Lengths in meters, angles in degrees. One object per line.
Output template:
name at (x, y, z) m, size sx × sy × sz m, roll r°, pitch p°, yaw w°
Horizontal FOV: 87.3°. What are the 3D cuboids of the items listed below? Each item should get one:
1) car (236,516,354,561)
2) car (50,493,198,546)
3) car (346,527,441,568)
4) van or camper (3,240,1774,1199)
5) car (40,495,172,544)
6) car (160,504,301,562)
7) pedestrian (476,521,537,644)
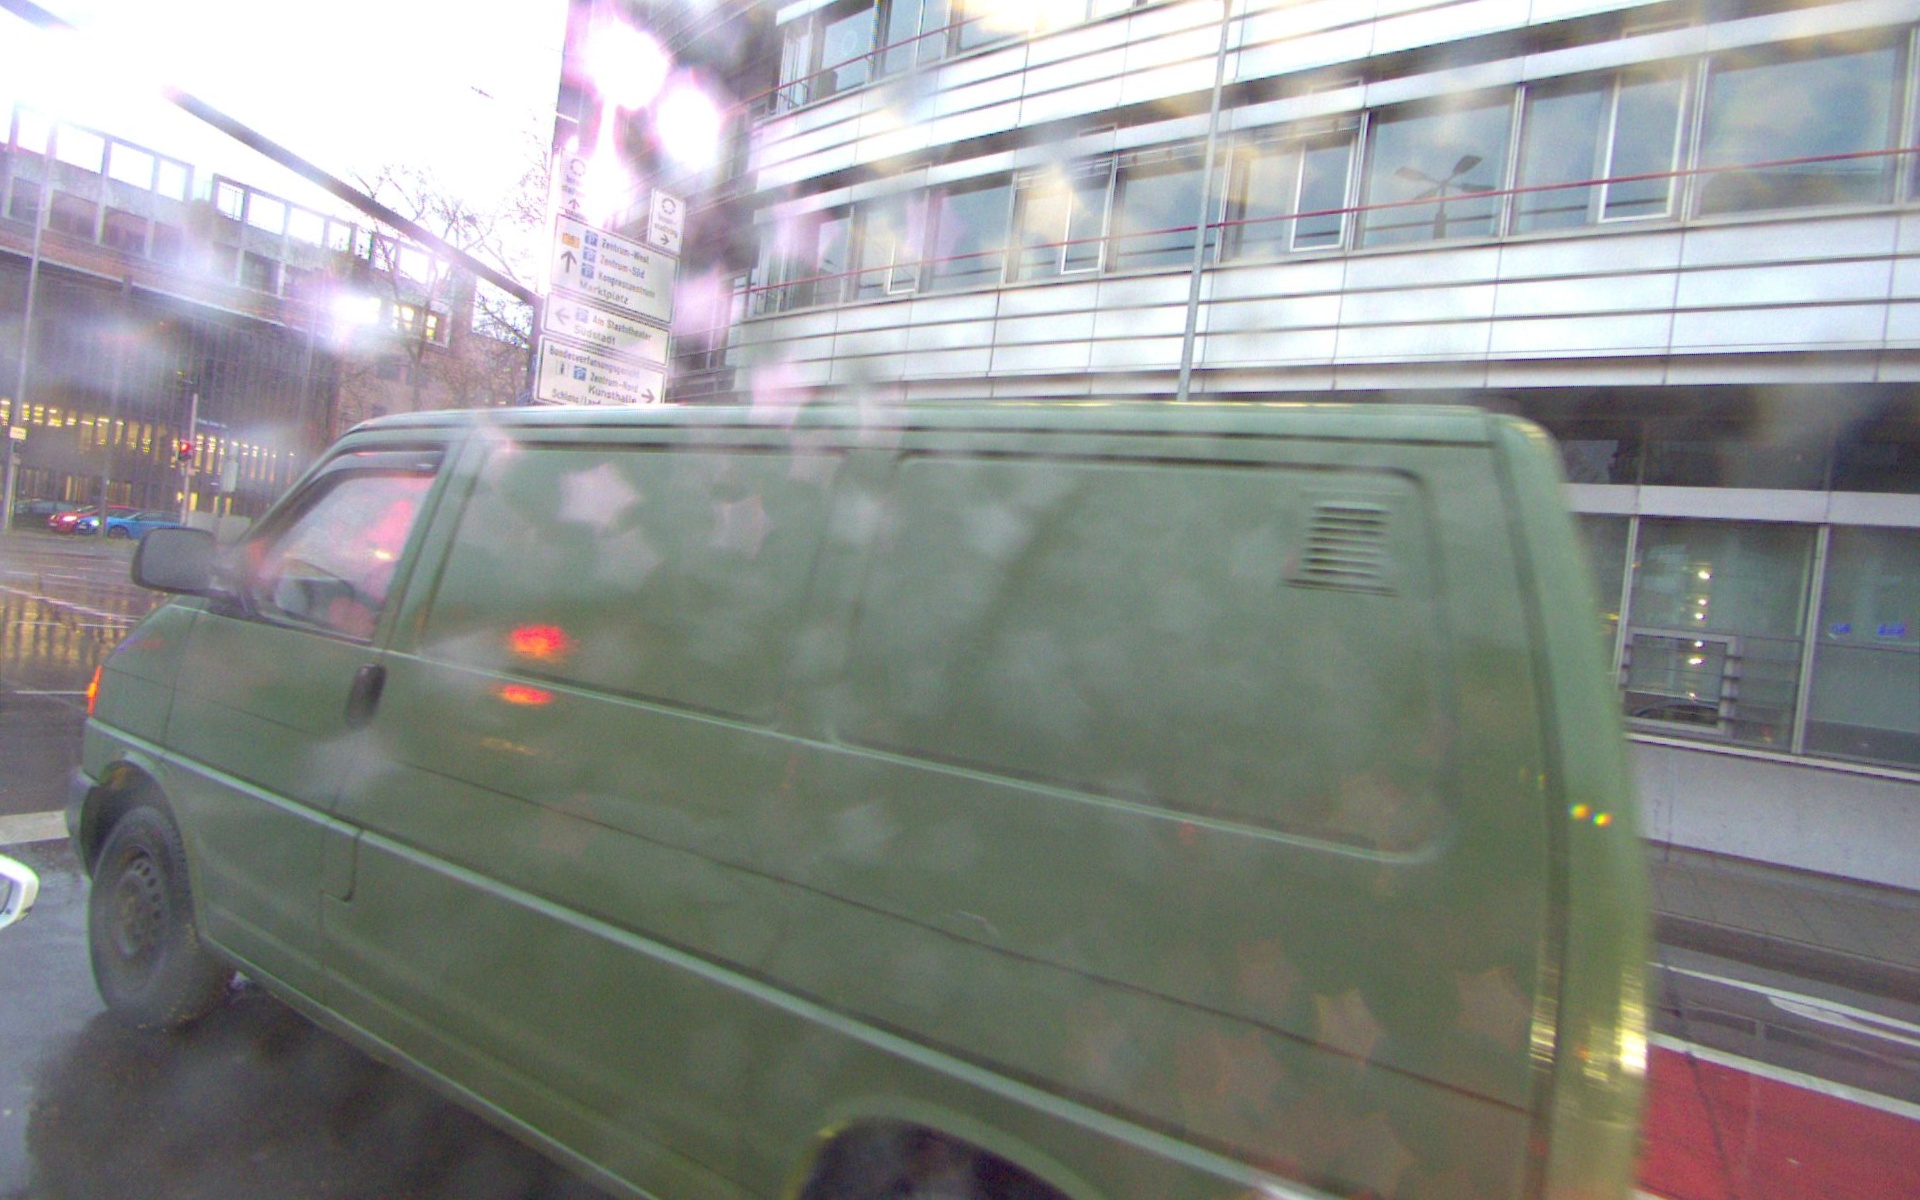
car at (-30.037, -2.766, 45.560) m, size 1.814 × 1.304 × 3.997 m, roll 11°, pitch 1°, yaw 26°
car at (-32.840, -3.136, 39.638) m, size 1.814 × 1.278 × 3.997 m, roll 11°, pitch 1°, yaw 26°
car at (-30.570, -2.816, 54.386) m, size 1.814 × 1.523 × 3.997 m, roll 11°, pitch 2°, yaw 26°
van or camper at (-0.709, 0.468, 2.883) m, size 4.345 × 1.929 × 1.760 m, roll 7°, pitch -1°, yaw 32°
car at (-35.883, -3.358, 42.355) m, size 1.814 × 1.278 × 3.729 m, roll 11°, pitch 1°, yaw 26°
car at (-28.704, -2.608, 39.697) m, size 1.814 × 1.523 × 3.997 m, roll 11°, pitch 2°, yaw 26°
pedestrian at (-8.496, -0.322, 18.862) m, size 0.609 × 2.210 × 0.576 m, roll 6°, pitch 0°, yaw 26°
